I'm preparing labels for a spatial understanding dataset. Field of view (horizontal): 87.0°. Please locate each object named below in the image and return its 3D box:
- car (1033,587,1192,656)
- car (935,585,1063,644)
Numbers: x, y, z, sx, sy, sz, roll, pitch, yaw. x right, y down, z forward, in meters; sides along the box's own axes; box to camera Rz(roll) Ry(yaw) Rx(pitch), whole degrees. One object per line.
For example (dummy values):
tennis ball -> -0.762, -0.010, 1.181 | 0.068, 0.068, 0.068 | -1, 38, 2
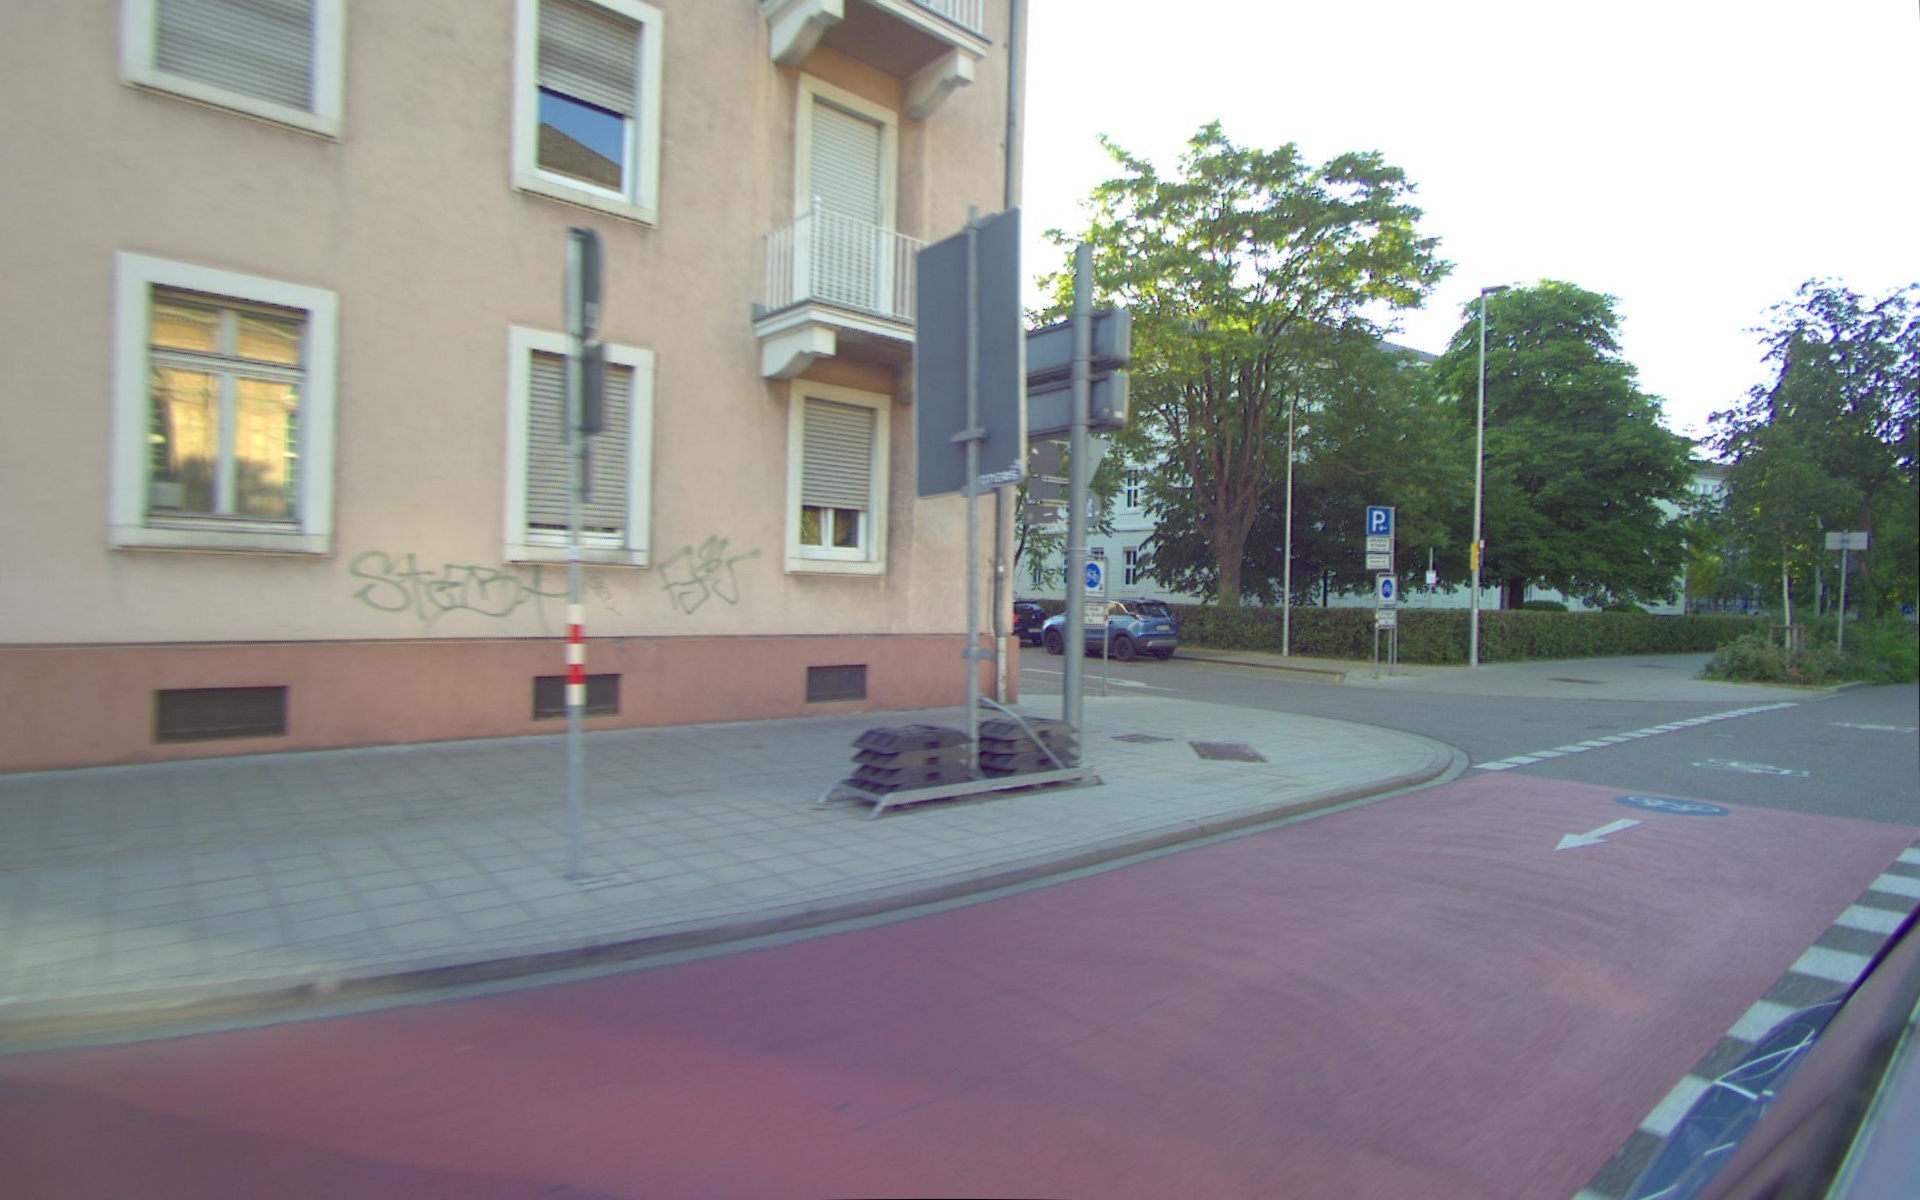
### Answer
car -> 3.928, 0.502, 26.601 | 1.839, 1.600, 3.926 | 0, 1, -39
car -> 1.138, 0.405, 31.255 | 1.839, 1.640, 3.926 | 0, 1, -39
